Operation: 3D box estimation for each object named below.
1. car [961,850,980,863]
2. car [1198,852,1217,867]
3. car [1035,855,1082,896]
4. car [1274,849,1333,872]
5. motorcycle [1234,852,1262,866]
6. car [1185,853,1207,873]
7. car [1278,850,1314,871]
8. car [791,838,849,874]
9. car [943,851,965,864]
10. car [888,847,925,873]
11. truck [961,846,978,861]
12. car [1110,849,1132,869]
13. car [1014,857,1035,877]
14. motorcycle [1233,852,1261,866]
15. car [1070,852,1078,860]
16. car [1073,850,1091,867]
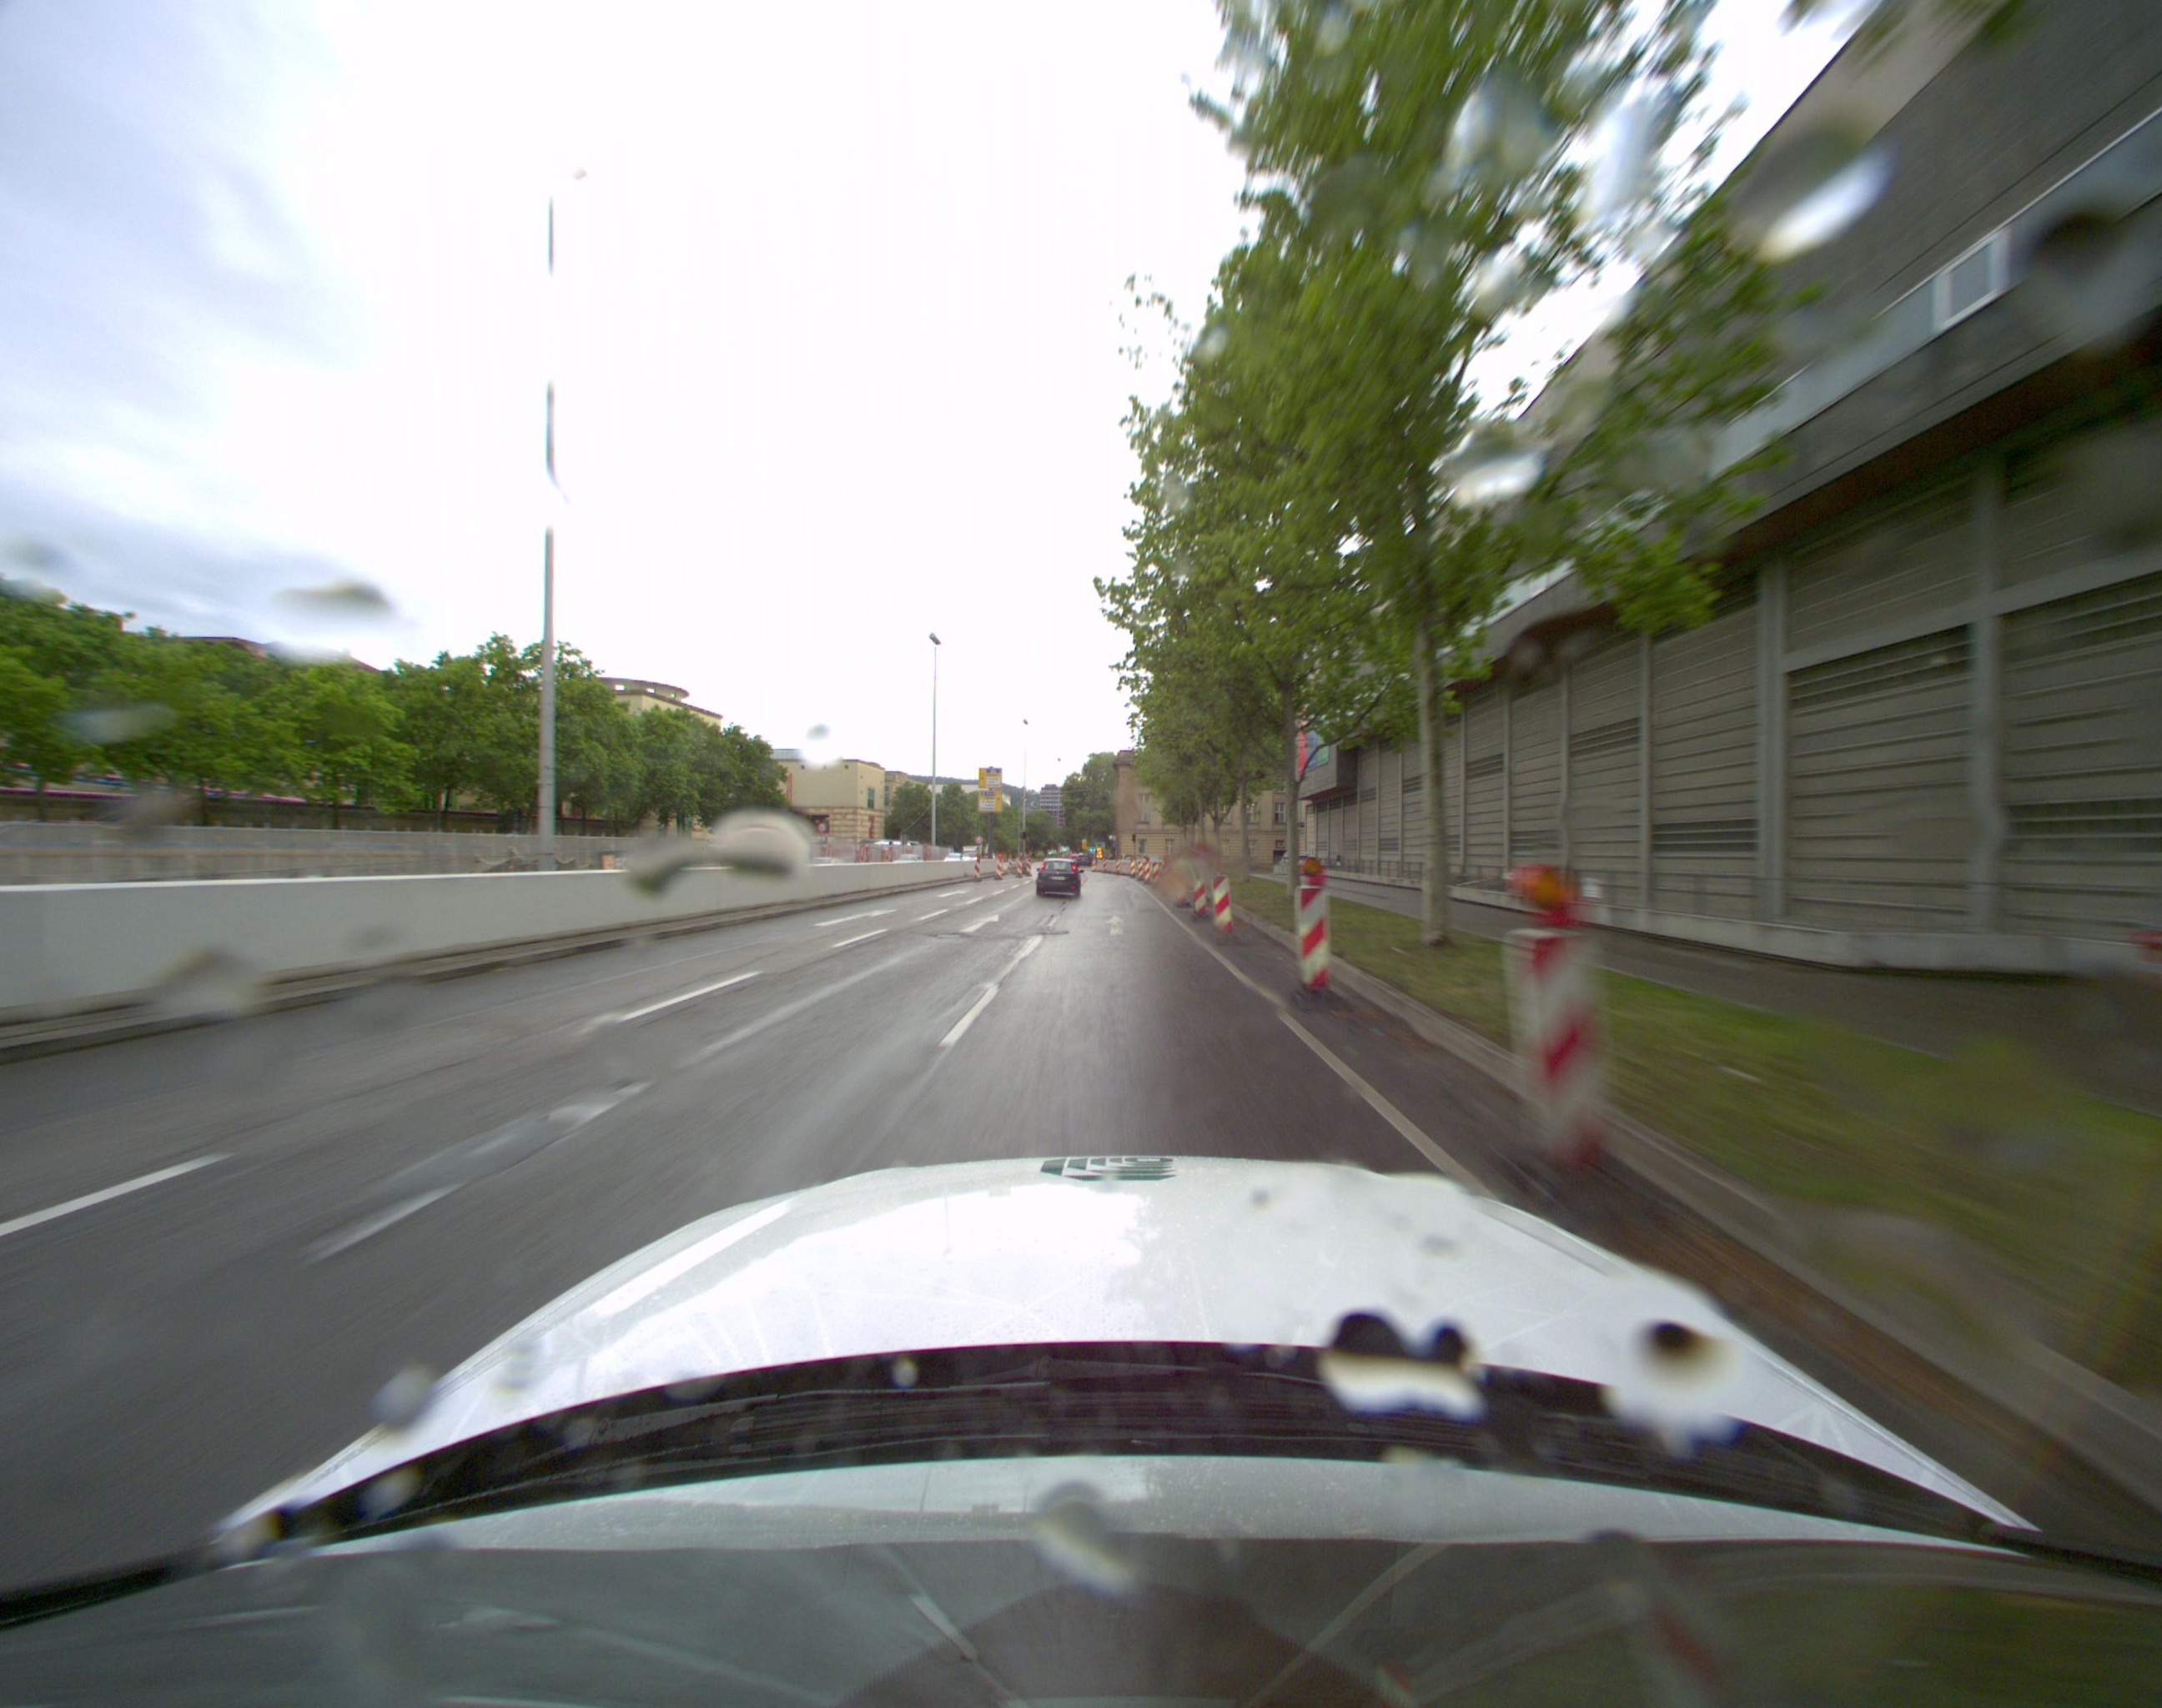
[{"bbox_3d":[-13.683,0.274,100.884,1.662,1.522,4.001,2,1,1],"label":"car"},{"bbox_3d":[15.284,0.664,98.572,1.983,1.709,4.007,2,-1,6],"label":"car"},{"bbox_3d":[-0.834,0.807,31.725,1.665,1.427,3.756,3,0,-1],"label":"car"},{"bbox_3d":[17.010,0.516,62.330,3.971,1.560,1.934,-1,-3,2],"label":"car"},{"bbox_3d":[19.524,0.613,95.141,3.146,1.543,0.891,2,-2,4],"label":"motorcycle"},{"bbox_3d":[10.867,0.810,77.049,1.983,1.708,4.008,2,1,6],"label":"car"},{"bbox_3d":[18.501,0.573,70.243,1.985,1.760,5.099,0,-1,3],"label":"car"},{"bbox_3d":[-15.428,0.111,48.317,1.986,2.013,4.001,2,0,1],"label":"car"},{"bbox_3d":[-13.037,0.348,83.715,1.620,1.195,3.406,2,0,1],"label":"car"},{"bbox_3d":[-14.255,0.467,66.656,1.986,2.013,4.001,2,0,1],"label":"car"},{"bbox_3d":[-18.001,-0.041,131.910,2.409,2.339,5.434,3,-1,-5],"label":"truck"},{"bbox_3d":[3.849,0.459,78.233,1.986,1.708,4.002,1,1,2],"label":"car"},{"bbox_3d":[-3.988,0.922,57.959,1.382,1.386,3.064,0,-1,-2],"label":"car"},{"bbox_3d":[19.635,0.603,96.166,3.145,1.543,0.891,2,-2,6],"label":"motorcycle"},{"bbox_3d":[-1.883,0.606,211.558,1.989,2.014,3.995,2,-1,-3],"label":"car"},{"bbox_3d":[0.146,0.562,101.702,1.986,2.013,4.002,1,1,2],"label":"car"}]
